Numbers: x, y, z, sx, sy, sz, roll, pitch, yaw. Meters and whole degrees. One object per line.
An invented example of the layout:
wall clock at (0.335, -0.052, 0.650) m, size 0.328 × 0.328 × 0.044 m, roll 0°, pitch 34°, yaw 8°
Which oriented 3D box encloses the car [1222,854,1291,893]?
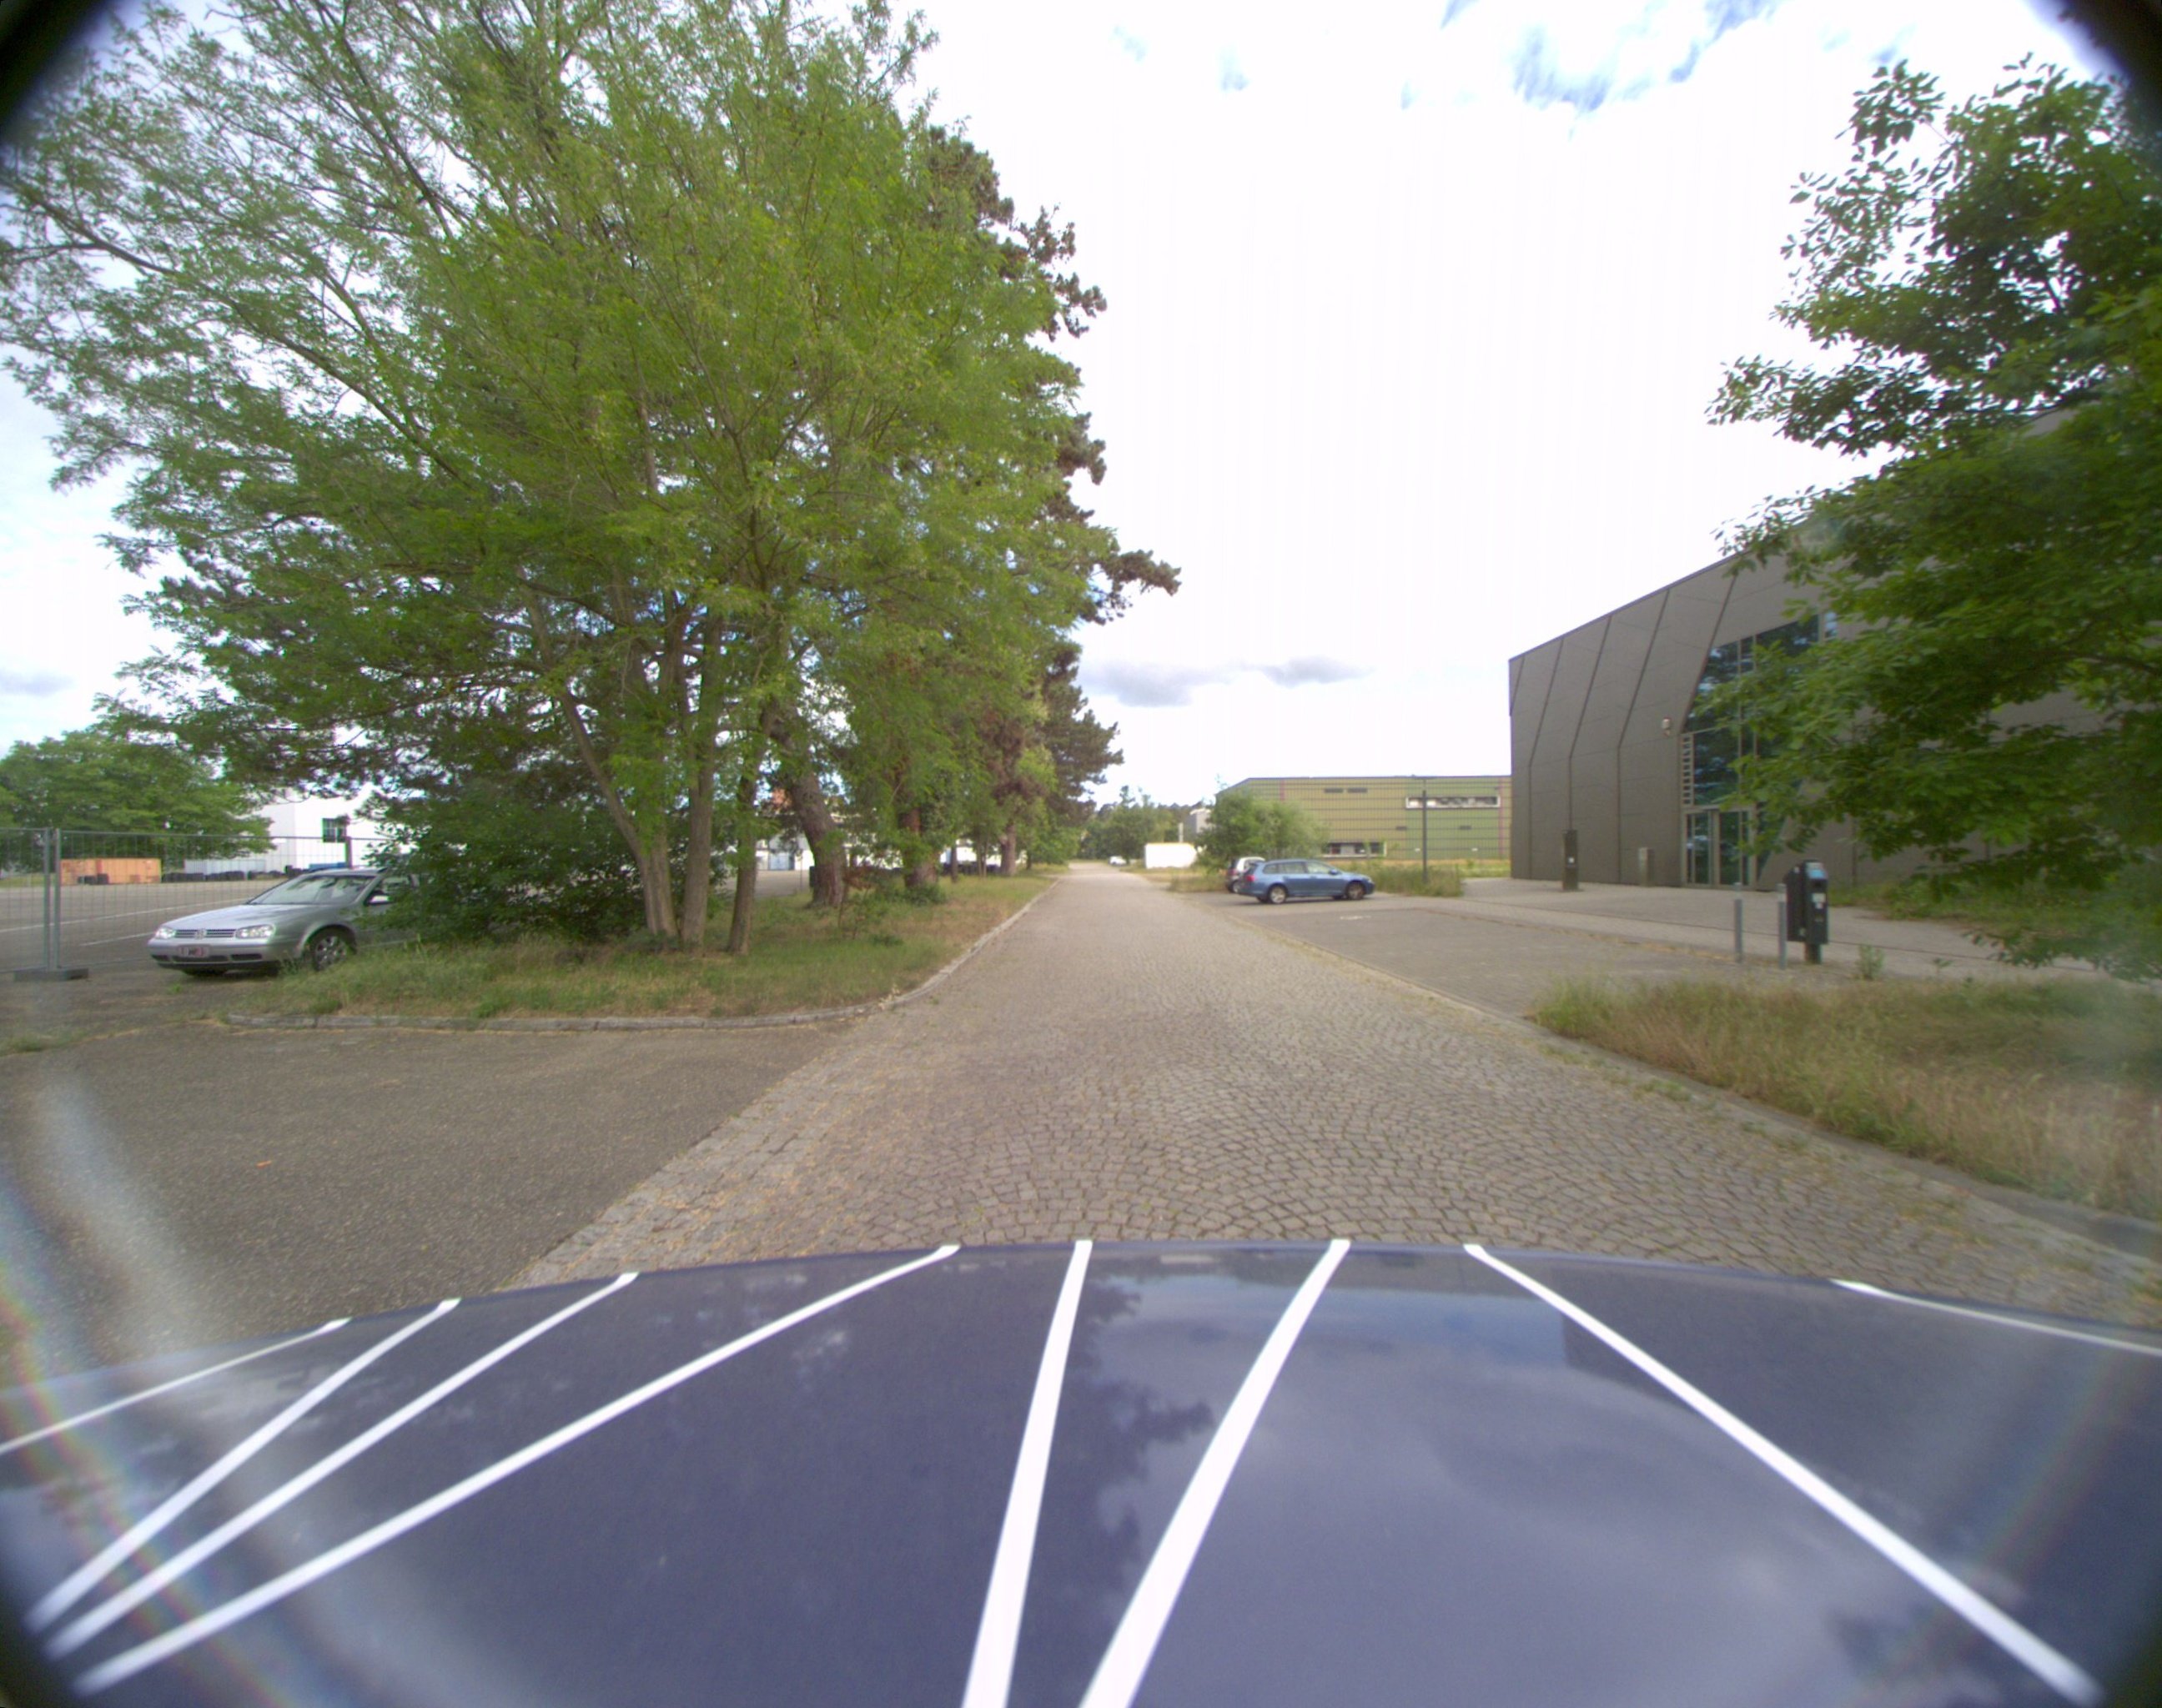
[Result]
car at (7.649, 0.832, 33.272) m, size 2.584 × 1.521 × 1.500 m, roll -3°, pitch 1°, yaw -1°

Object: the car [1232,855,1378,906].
car at (7.572, 0.882, 25.903) m, size 4.426 × 1.461 × 1.633 m, roll -3°, pitch 1°, yaw -2°

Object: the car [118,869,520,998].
car at (-11.017, 1.014, 11.594) m, size 1.678 × 1.442 × 4.488 m, roll -1°, pitch 0°, yaw -2°

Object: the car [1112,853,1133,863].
car at (7.933, 0.782, 145.712) m, size 4.062 × 1.767 × 1.792 m, roll -1°, pitch 1°, yaw 0°
